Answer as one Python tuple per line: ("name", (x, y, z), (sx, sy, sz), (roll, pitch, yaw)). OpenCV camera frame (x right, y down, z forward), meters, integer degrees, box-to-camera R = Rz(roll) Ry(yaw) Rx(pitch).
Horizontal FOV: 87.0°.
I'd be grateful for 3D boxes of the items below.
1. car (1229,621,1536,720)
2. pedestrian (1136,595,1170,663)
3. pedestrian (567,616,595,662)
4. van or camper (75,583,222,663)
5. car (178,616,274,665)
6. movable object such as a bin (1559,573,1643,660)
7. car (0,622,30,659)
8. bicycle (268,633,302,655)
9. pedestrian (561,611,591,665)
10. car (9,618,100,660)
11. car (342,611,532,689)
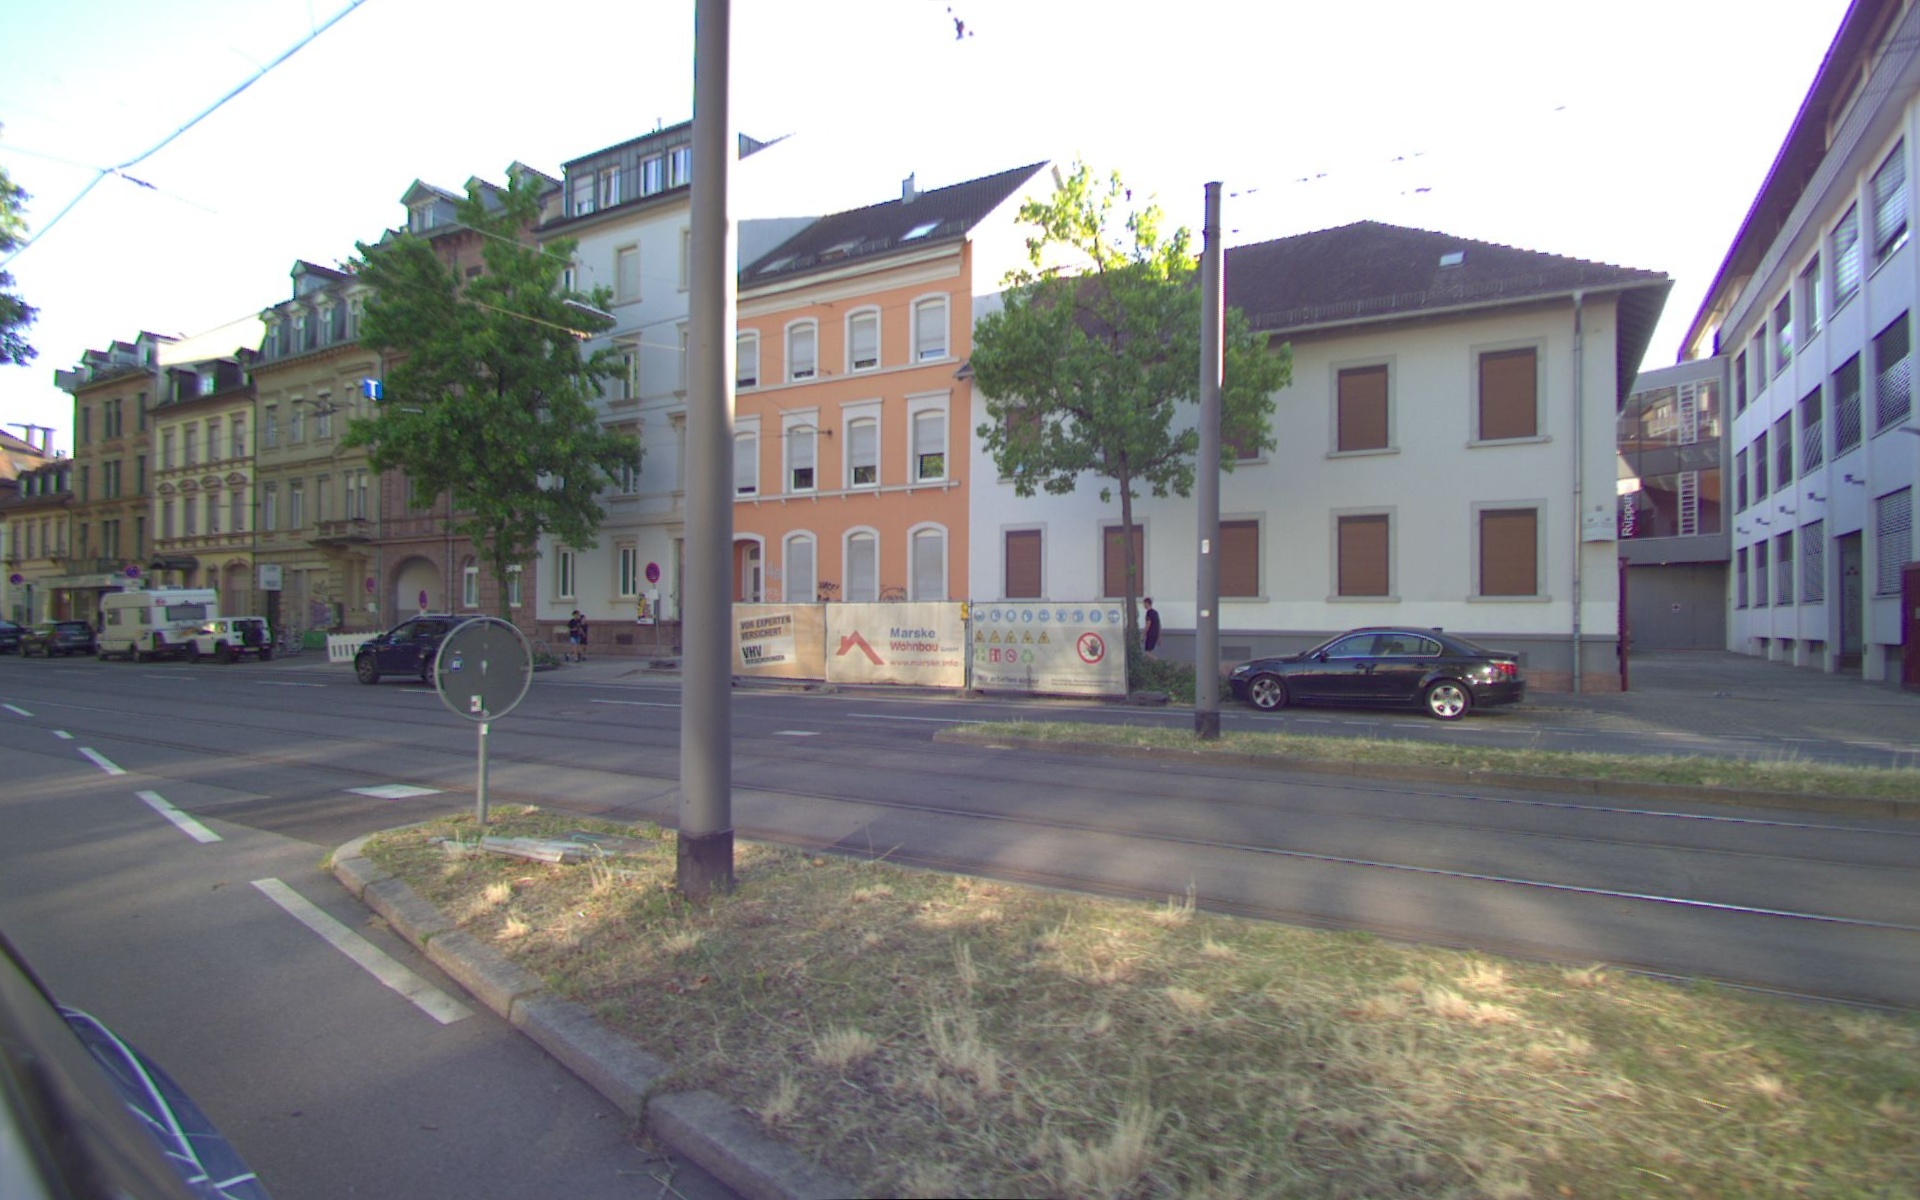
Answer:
("car", (7.282, 1.136, 17.567), (4.707, 1.525, 1.979), (-1, -2, 30))
("pedestrian", (4.533, 0.678, 23.728), (0.637, 1.582, 0.590), (-1, -2, 29))
("pedestrian", (-12.232, 1.248, 32.700), (0.605, 1.472, 0.572), (-1, 0, 30))
("van or camper", (-33.118, 0.919, 41.236), (7.227, 2.969, 2.401), (-1, 2, 33))
("car", (-27.687, 1.505, 38.182), (3.356, 1.718, 1.620), (-1, 1, 28))
("movable object such as a bin", (24.428, 0.520, 38.803), (2.278, 3.026, 6.058), (-1, 1, 29))
("car", (-47.935, 1.992, 49.719), (4.732, 1.715, 1.980), (-1, 2, 30))
("bicycle", (-29.074, 1.899, 43.565), (1.787, 0.931, 0.574), (-1, -2, 33))
("pedestrian", (-12.130, 1.186, 31.953), (0.686, 1.666, 0.563), (-1, 0, 34))
("car", (-41.329, 1.760, 46.179), (4.425, 1.718, 1.798), (-1, 2, 30))
("car", (-12.403, 1.147, 23.980), (4.292, 1.702, 1.980), (-1, -2, 30))
